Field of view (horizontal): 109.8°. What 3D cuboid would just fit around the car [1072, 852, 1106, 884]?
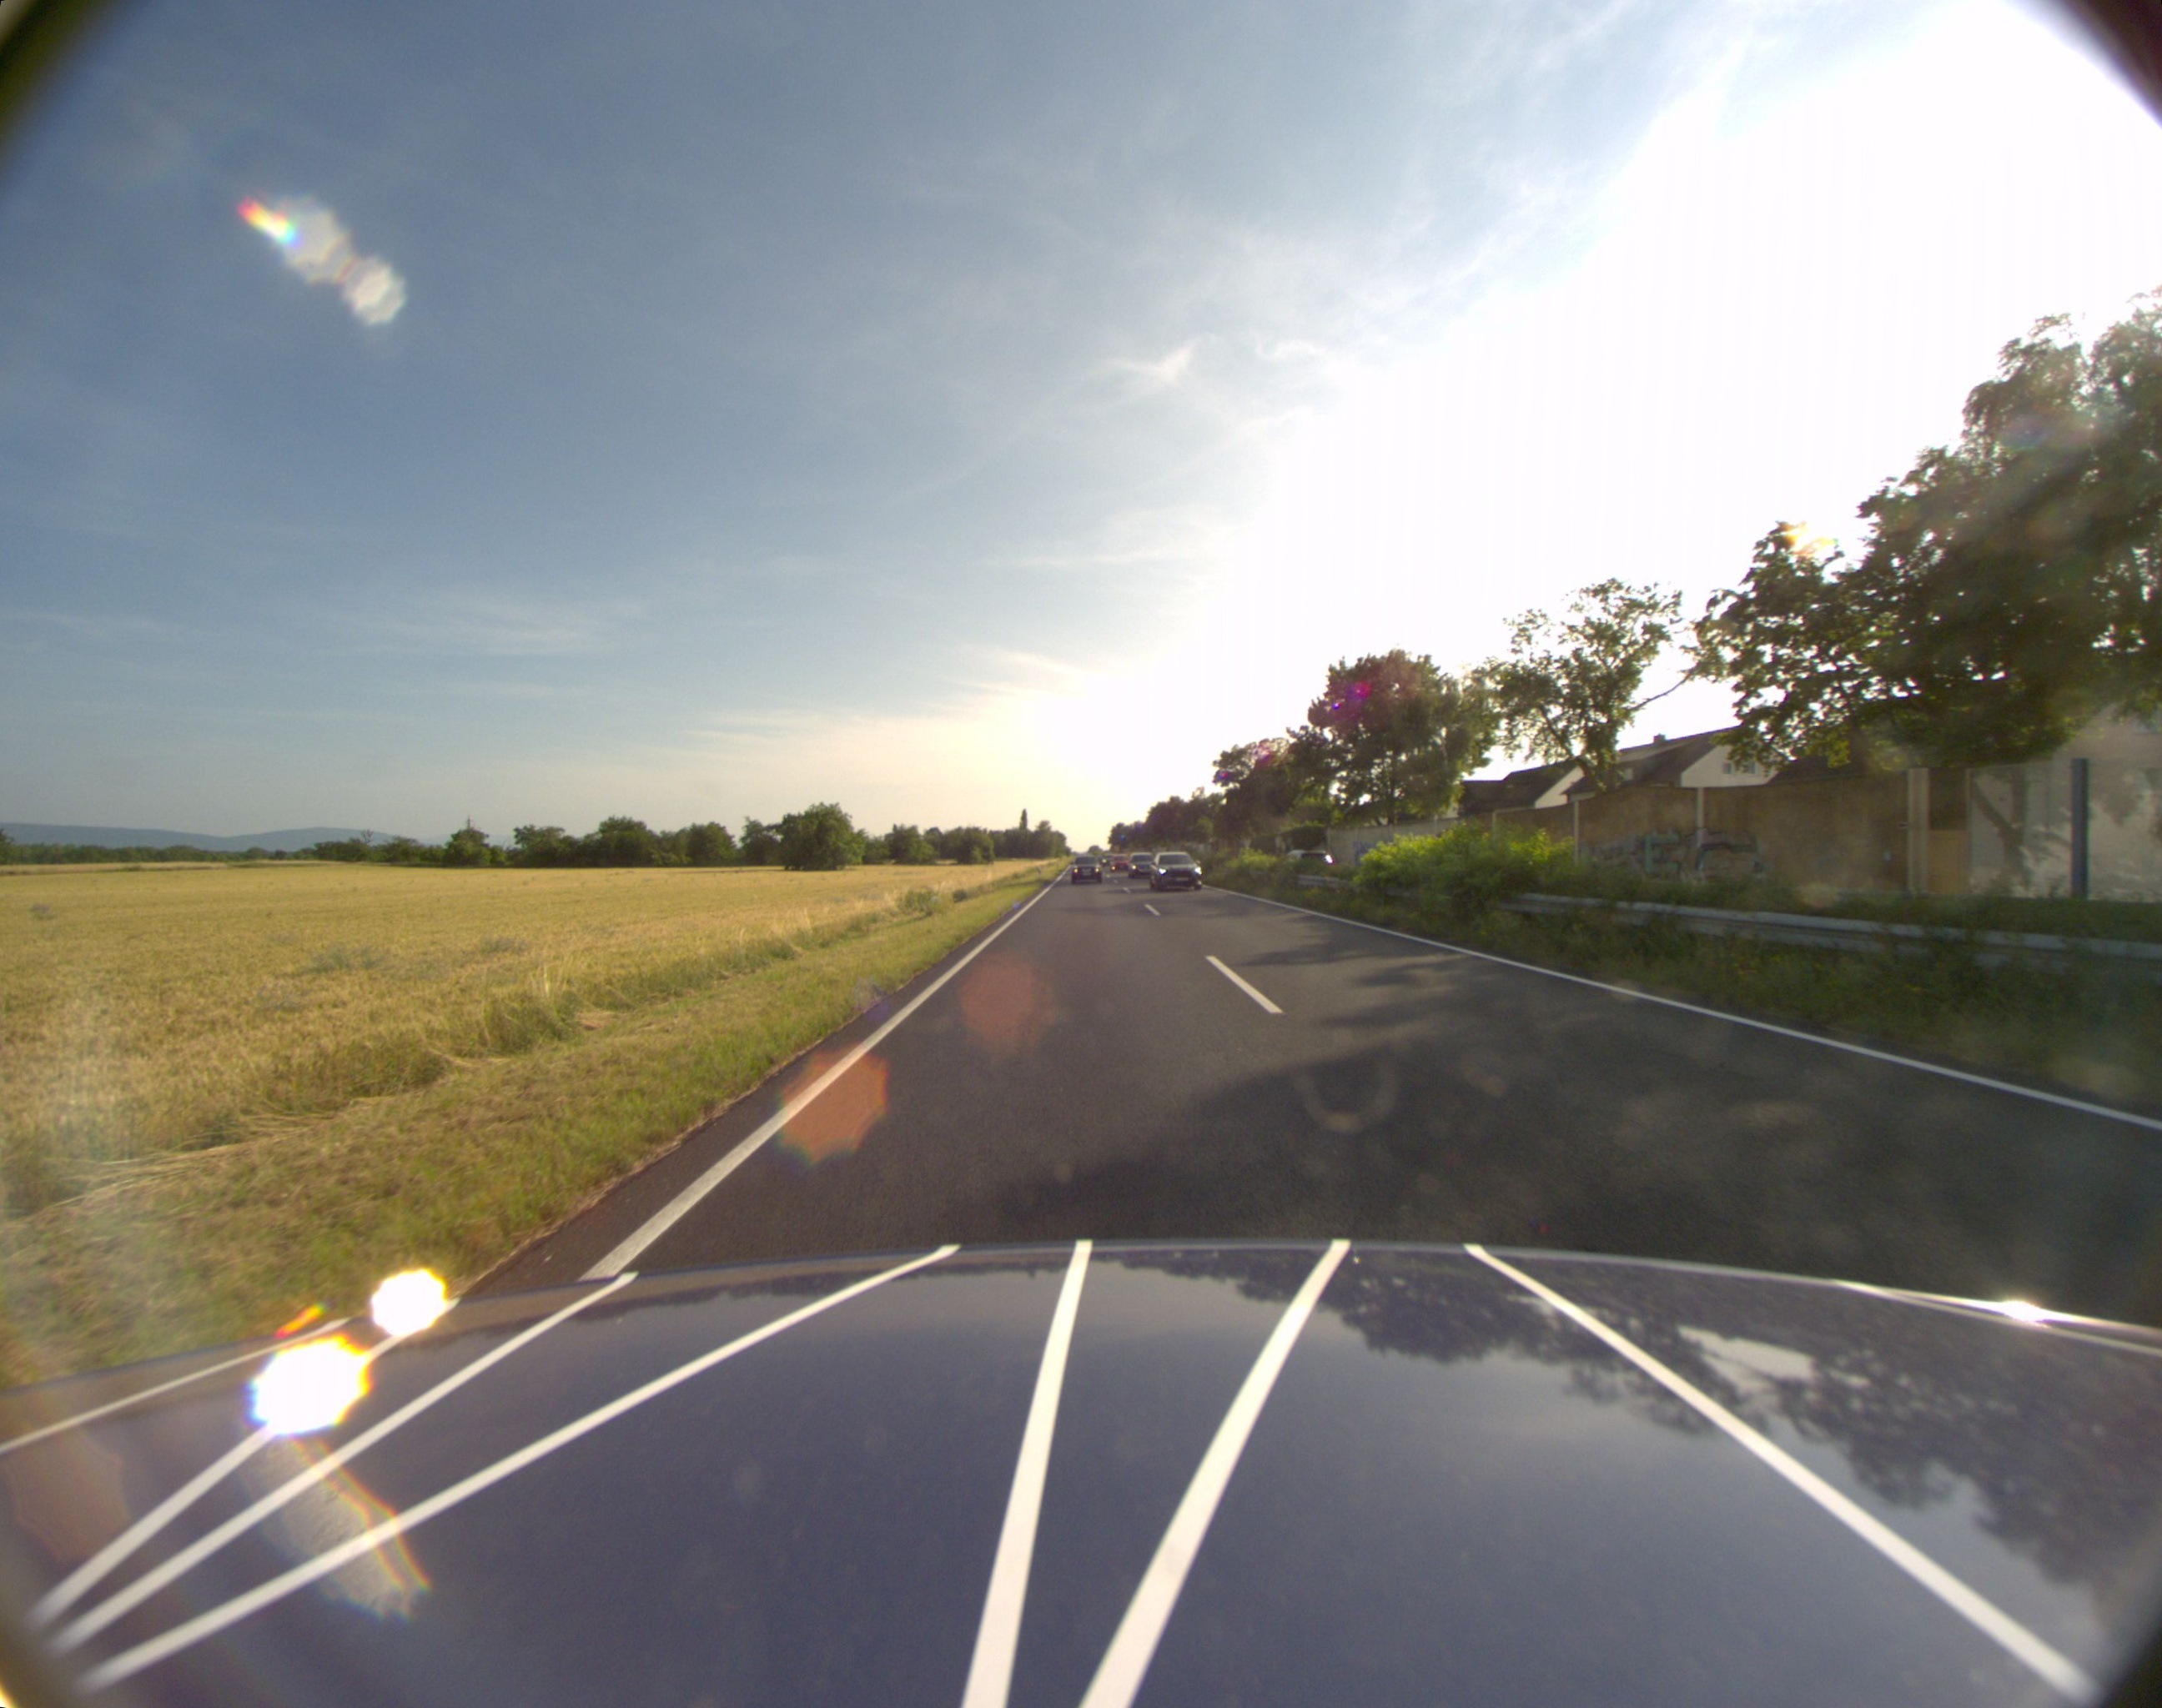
[{"bbox_3d":[0.447,0.787,44.739,1.822,1.661,3.999,-2,1,0],"label":"car"}]

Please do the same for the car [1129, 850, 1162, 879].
[{"bbox_3d":[4.273,0.660,50.799,1.822,1.724,3.999,-2,1,1],"label":"car"}]

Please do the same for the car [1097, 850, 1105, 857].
[{"bbox_3d":[4.313,-0.047,164.478,1.693,1.397,3.999,-2,1,0],"label":"car"}]

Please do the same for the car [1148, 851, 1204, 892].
[{"bbox_3d":[3.969,0.699,32.315,1.822,1.516,4.246,-2,1,1],"label":"car"}]

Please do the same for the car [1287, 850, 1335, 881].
[{"bbox_3d":[11.559,0.548,38.308,1.420,1.454,3.146,-2,1,0],"label":"car"}]

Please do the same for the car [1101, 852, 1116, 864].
[{"bbox_3d":[3.661,0.568,101.611,1.700,1.456,3.646,-2,1,0],"label":"car"}]

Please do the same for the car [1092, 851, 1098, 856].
[{"bbox_3d":[4.092,-0.195,223.859,1.728,1.525,3.999,-2,1,1],"label":"car"}]

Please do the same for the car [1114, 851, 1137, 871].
[{"bbox_3d":[4.053,0.646,70.045,1.822,1.661,3.999,-2,1,1],"label":"car"}]
